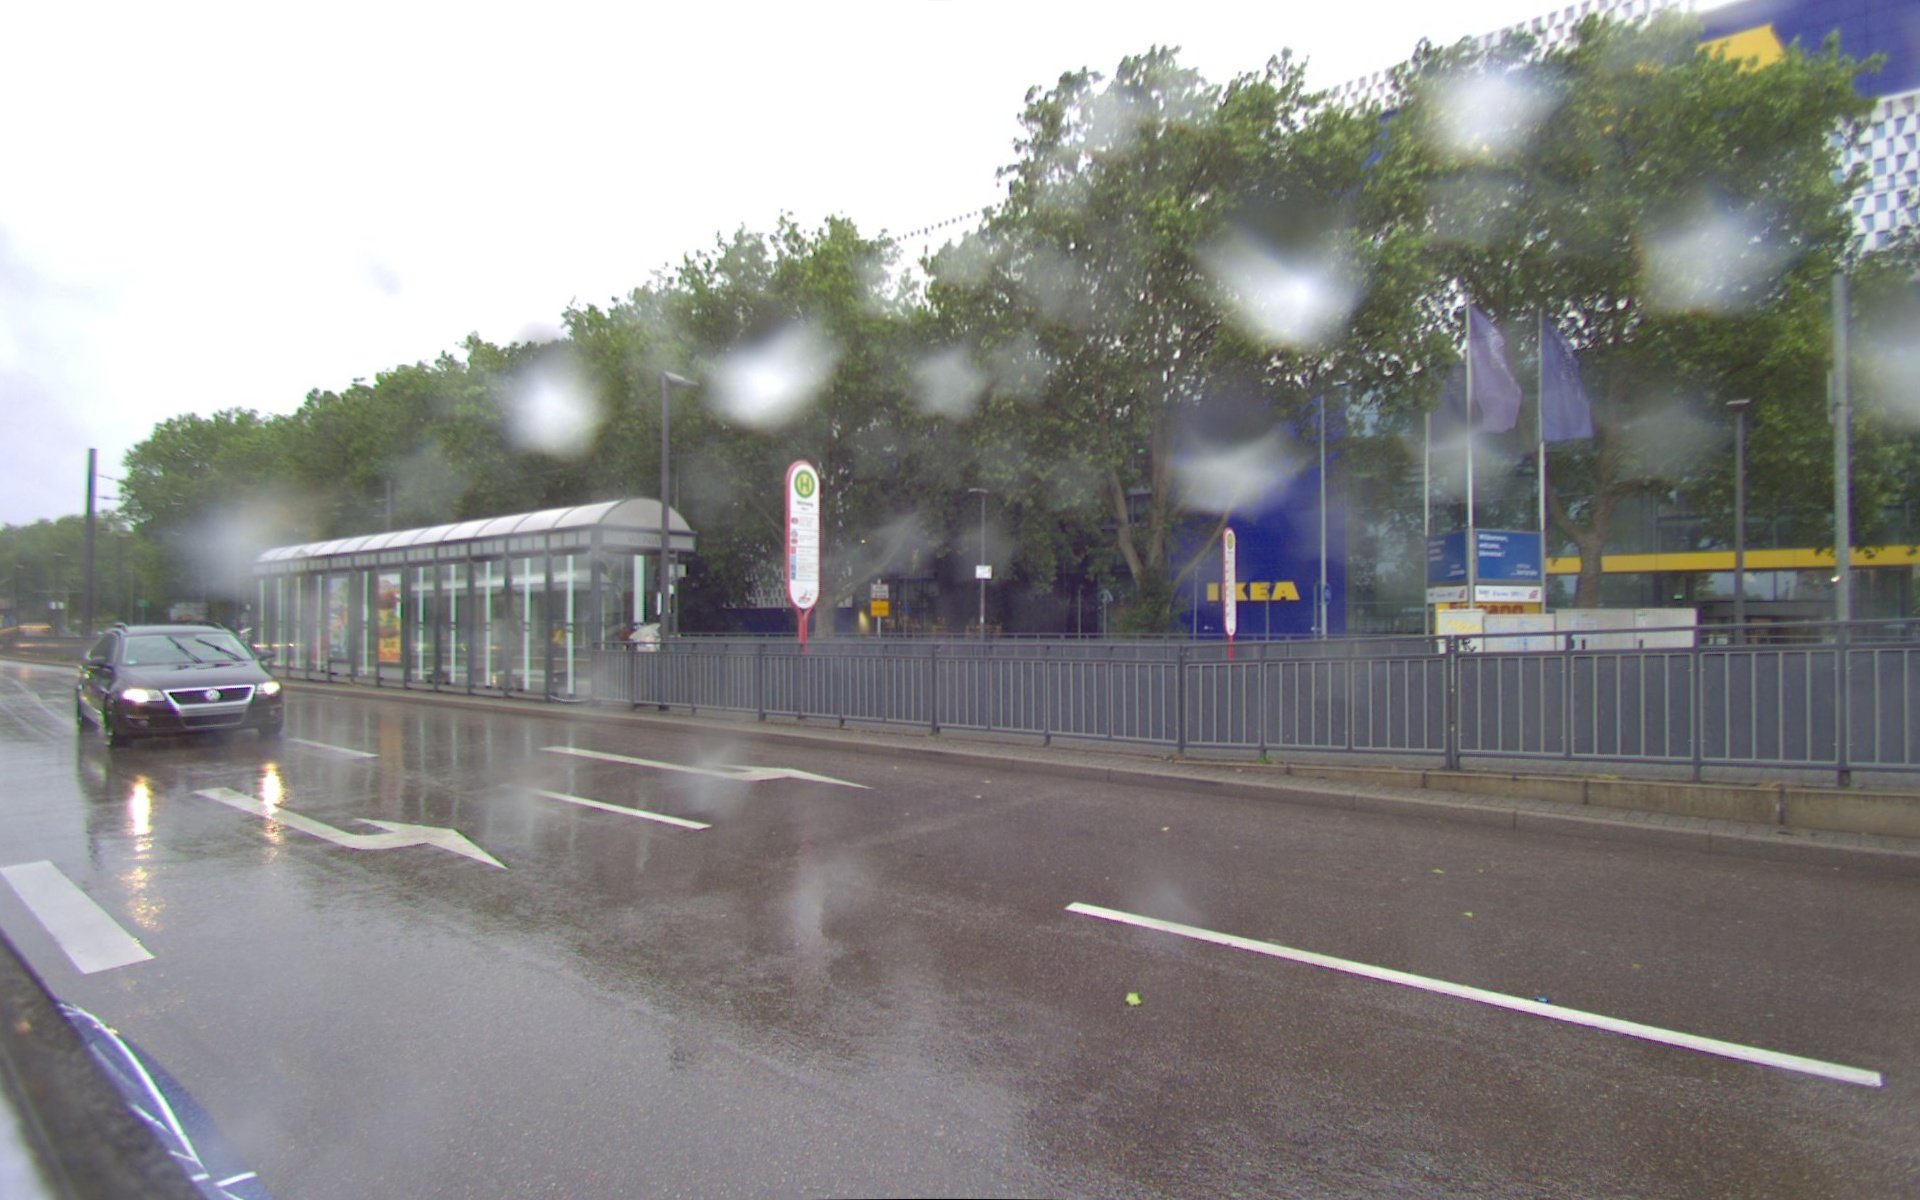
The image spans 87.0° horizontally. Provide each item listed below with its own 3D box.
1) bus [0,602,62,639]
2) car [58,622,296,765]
[{"bbox_3d":[-92.297,1.968,99.648,15.038,3.354,2.904,-1,0,37],"label":"bus"},{"bbox_3d":[-10.463,1.077,13.384,4.596,1.512,1.752,-1,0,43],"label":"car"}]
